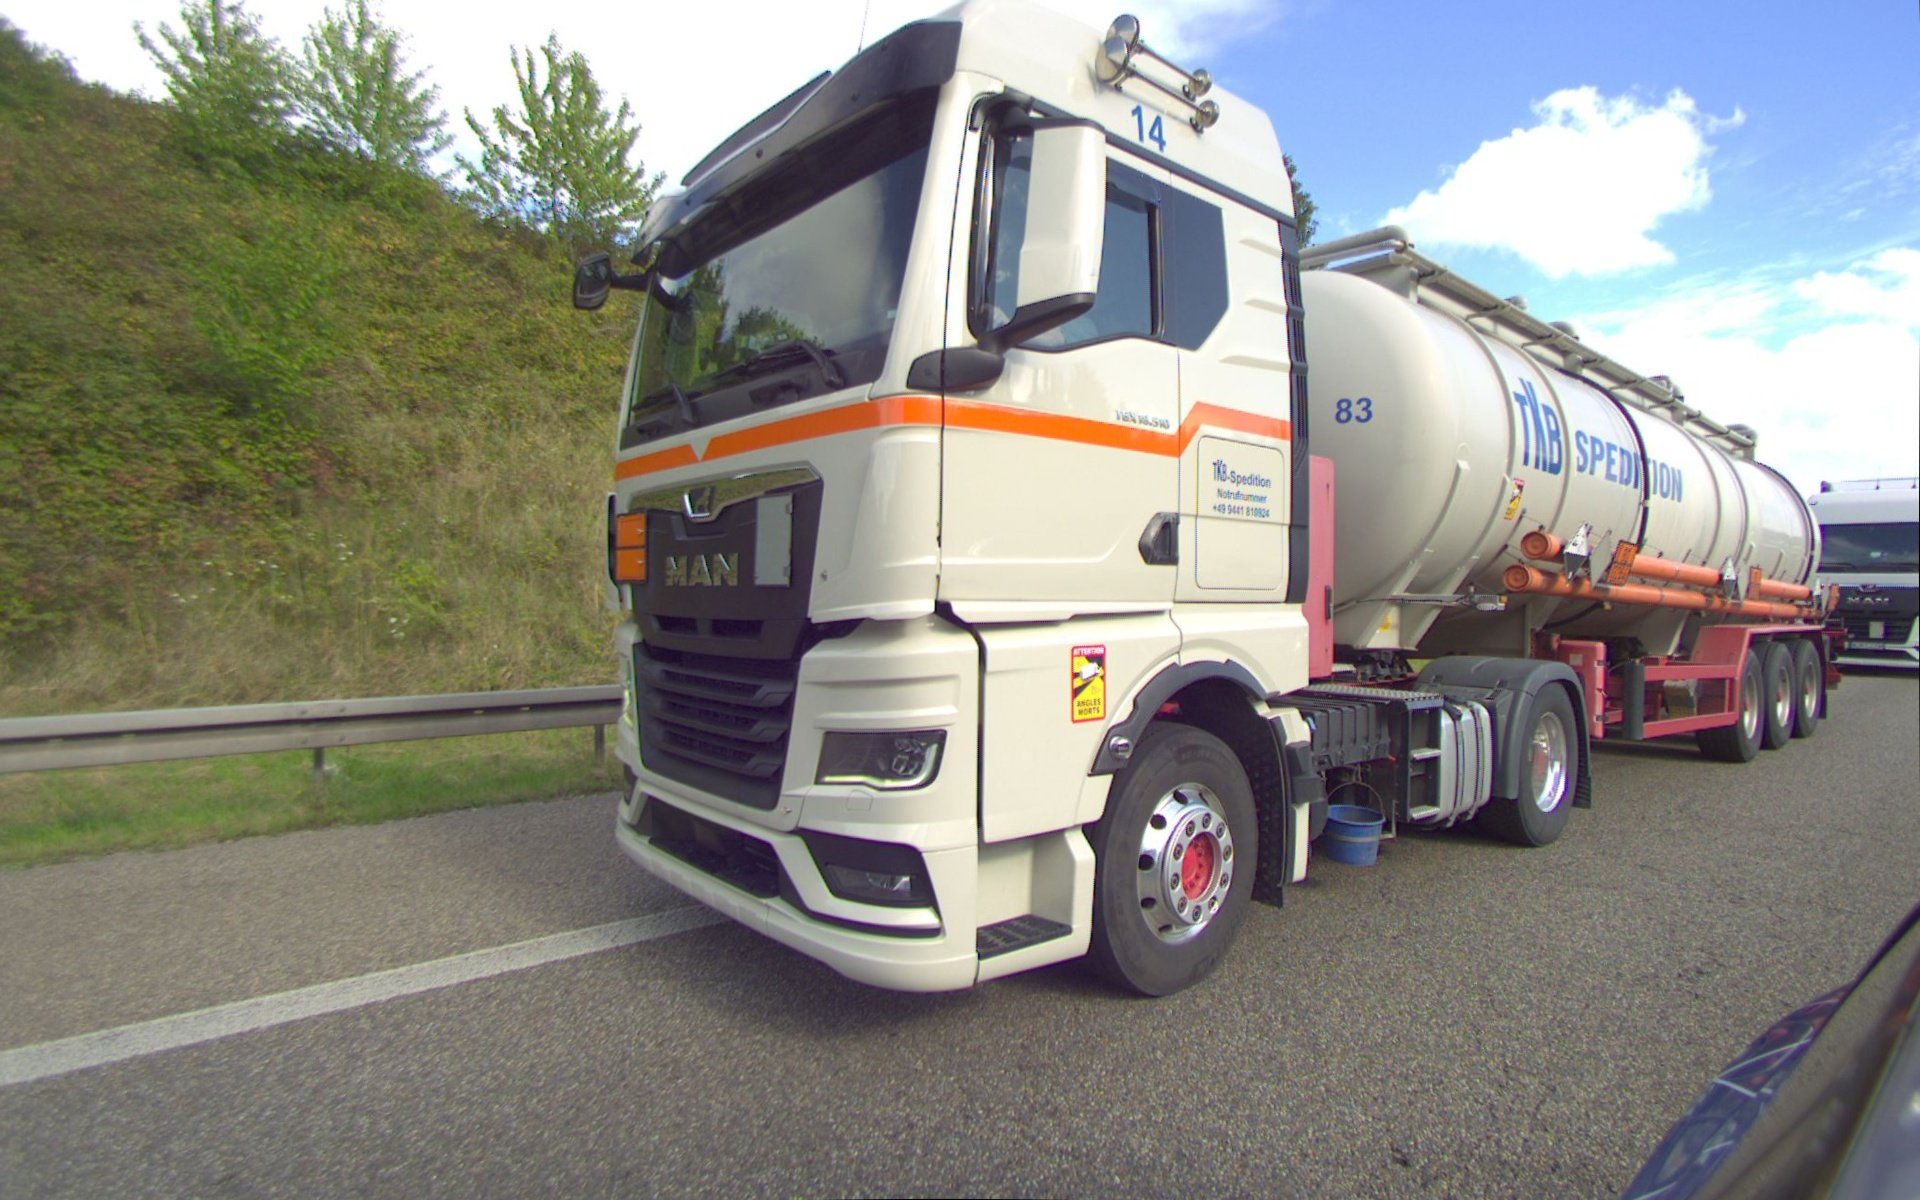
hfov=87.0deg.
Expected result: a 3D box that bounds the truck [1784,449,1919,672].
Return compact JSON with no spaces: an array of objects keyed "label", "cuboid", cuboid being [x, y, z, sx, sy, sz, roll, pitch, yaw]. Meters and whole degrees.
[{"label":"truck","cuboid":[19.534,-0.760,20.914,5.605,4.122,2.840,0,1,-39]}]

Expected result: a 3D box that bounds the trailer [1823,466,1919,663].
[{"label":"trailer","cuboid":[25.058,-0.797,25.477,13.132,4.122,2.832,0,1,-39]}]

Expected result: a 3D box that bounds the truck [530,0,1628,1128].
[{"label":"truck","cuboid":[1.058,-0.702,5.587,5.798,4.094,2.809,0,1,-39]}]

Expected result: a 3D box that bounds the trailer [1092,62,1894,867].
[{"label":"trailer","cuboid":[6.069,-0.738,9.718,10.982,4.077,2.804,0,1,-39]}]
